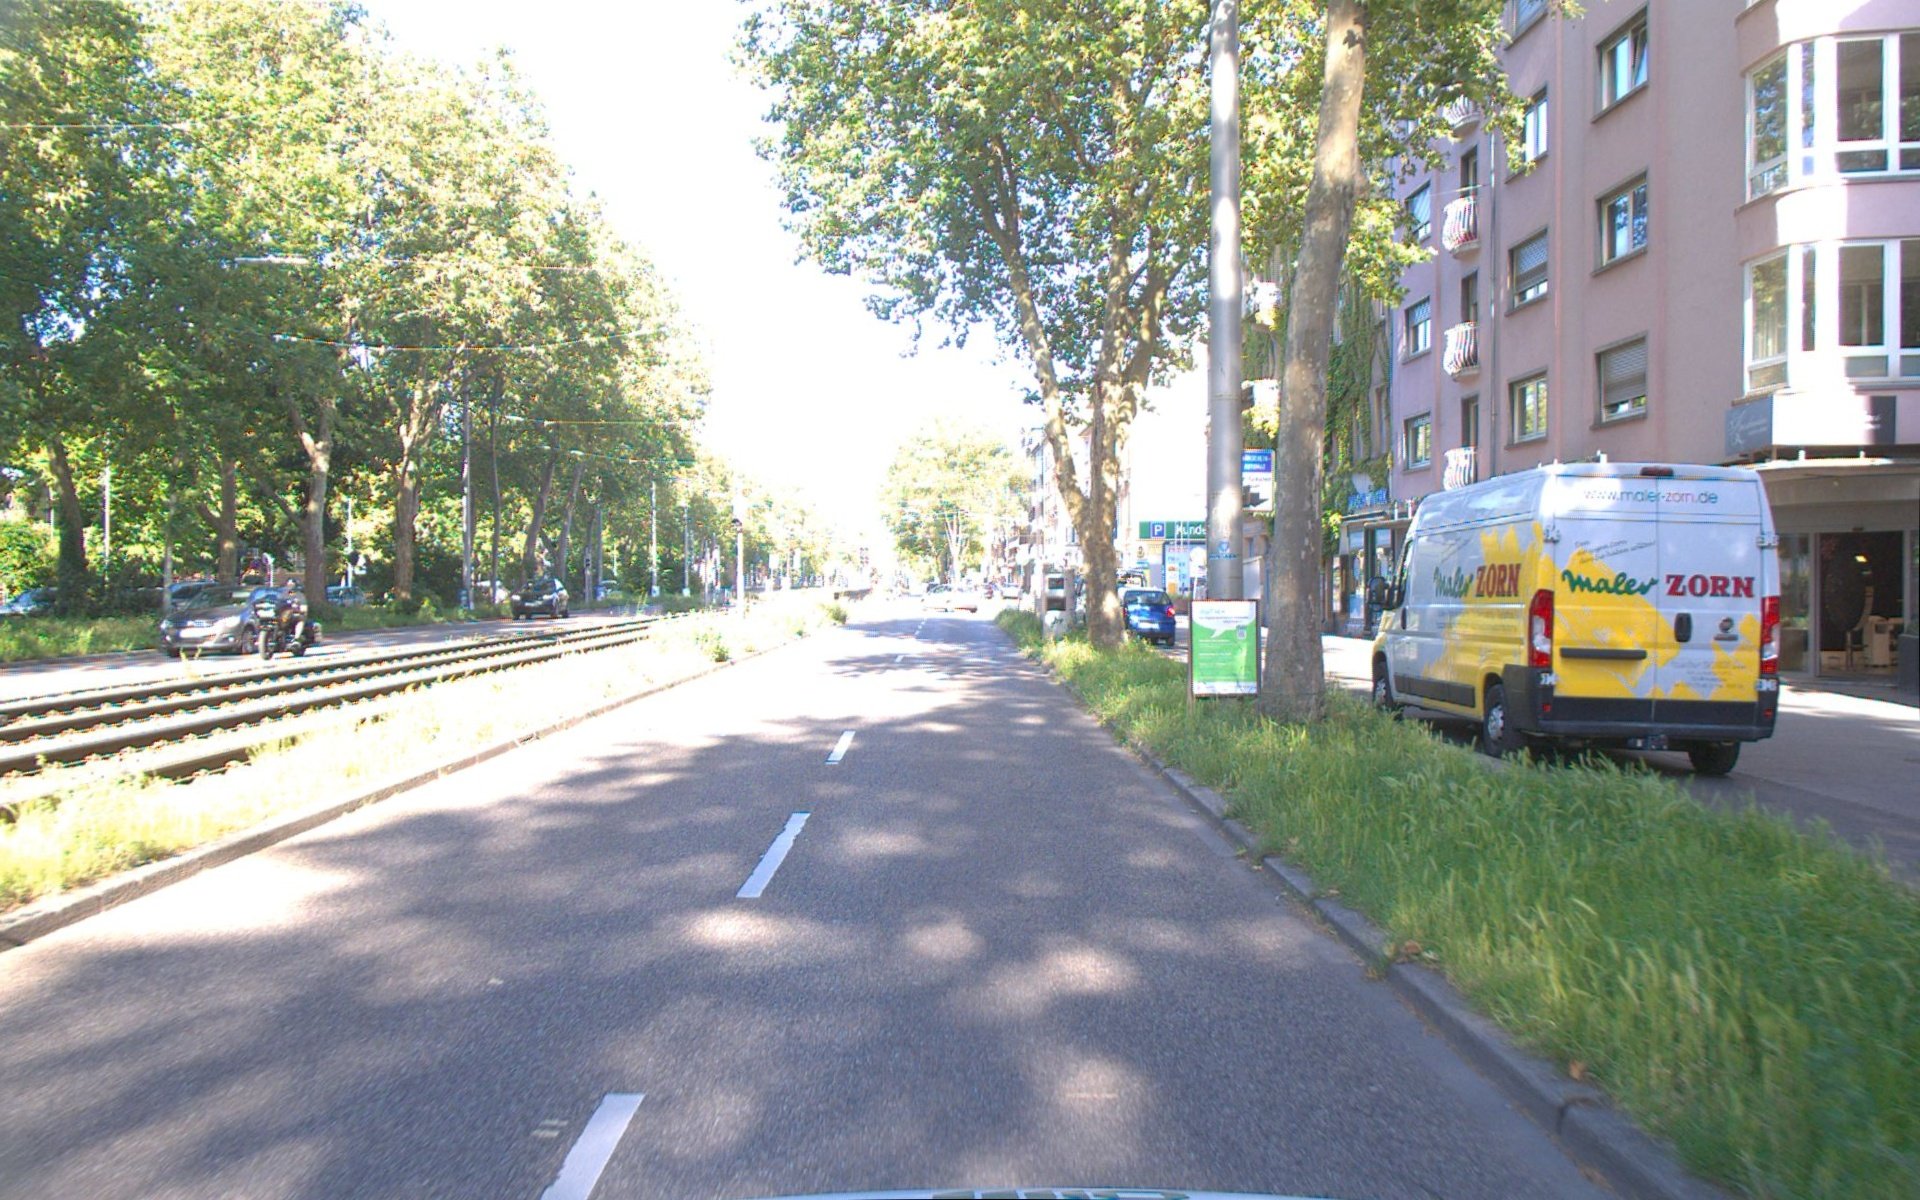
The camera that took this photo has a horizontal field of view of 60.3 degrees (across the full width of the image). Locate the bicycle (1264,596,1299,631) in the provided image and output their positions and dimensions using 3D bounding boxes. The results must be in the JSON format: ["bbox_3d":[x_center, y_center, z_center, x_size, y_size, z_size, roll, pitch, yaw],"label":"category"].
[{"bbox_3d":[11.066,0.447,57.060,0.868,1.154,2.400,0,0,3],"label":"bicycle"}]

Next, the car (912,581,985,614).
[{"bbox_3d":[-0.635,-0.142,86.961,2.005,1.691,3.950,0,0,-35],"label":"car"}]

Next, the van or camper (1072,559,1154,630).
[{"bbox_3d":[4.491,-0.169,49.089,1.802,1.997,5.125,1,0,-2],"label":"van or camper"}]

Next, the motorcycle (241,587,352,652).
[{"bbox_3d":[-13.430,0.370,33.627,0.944,1.233,3.351,0,1,-1],"label":"motorcycle"}]

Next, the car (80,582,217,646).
[{"bbox_3d":[-27.392,0.425,56.052,2.109,2.049,5.268,0,1,-1],"label":"car"}]

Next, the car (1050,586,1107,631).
[{"bbox_3d":[4.227,0.280,59.367,1.649,1.535,3.666,1,0,-2],"label":"car"}]

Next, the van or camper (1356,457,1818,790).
[{"bbox_3d":[5.649,0.174,16.051,2.139,2.523,6.269,2,0,1],"label":"van or camper"}]

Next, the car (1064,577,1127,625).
[{"bbox_3d":[4.392,0.009,54.123,1.649,1.535,3.666,0,1,-2],"label":"car"}]

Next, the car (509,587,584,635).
[{"bbox_3d":[-17.700,0.431,71.066,1.953,1.903,4.872,-2,1,0],"label":"car"}]

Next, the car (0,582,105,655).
[{"bbox_3d":[-27.526,0.511,49.060,1.953,2.049,4.683,0,1,-1],"label":"car"}]

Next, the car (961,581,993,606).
[{"bbox_3d":[1.141,-0.458,112.027,1.981,1.691,3.999,0,0,-2],"label":"car"}]

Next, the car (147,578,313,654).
[{"bbox_3d":[-16.310,0.332,37.211,1.759,1.534,4.338,-3,0,0],"label":"car"}]

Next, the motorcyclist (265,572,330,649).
[{"bbox_3d":[-13.427,0.208,33.535,0.925,1.540,0.958,0,0,-1],"label":"motorcyclist"}]

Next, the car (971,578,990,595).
[{"bbox_3d":[1.884,-1.209,152.268,1.648,1.535,3.667,1,0,0],"label":"car"}]

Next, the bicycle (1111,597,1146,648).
[{"bbox_3d":[3.460,0.444,34.056,0.576,1.008,1.450,0,1,1],"label":"bicycle"}]

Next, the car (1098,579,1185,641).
[{"bbox_3d":[4.751,0.253,43.657,1.649,1.540,3.665,1,0,-4],"label":"car"}]

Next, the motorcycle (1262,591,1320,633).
[{"bbox_3d":[10.994,0.398,54.961,0.555,1.290,1.864,3,0,-45],"label":"motorcycle"}]
